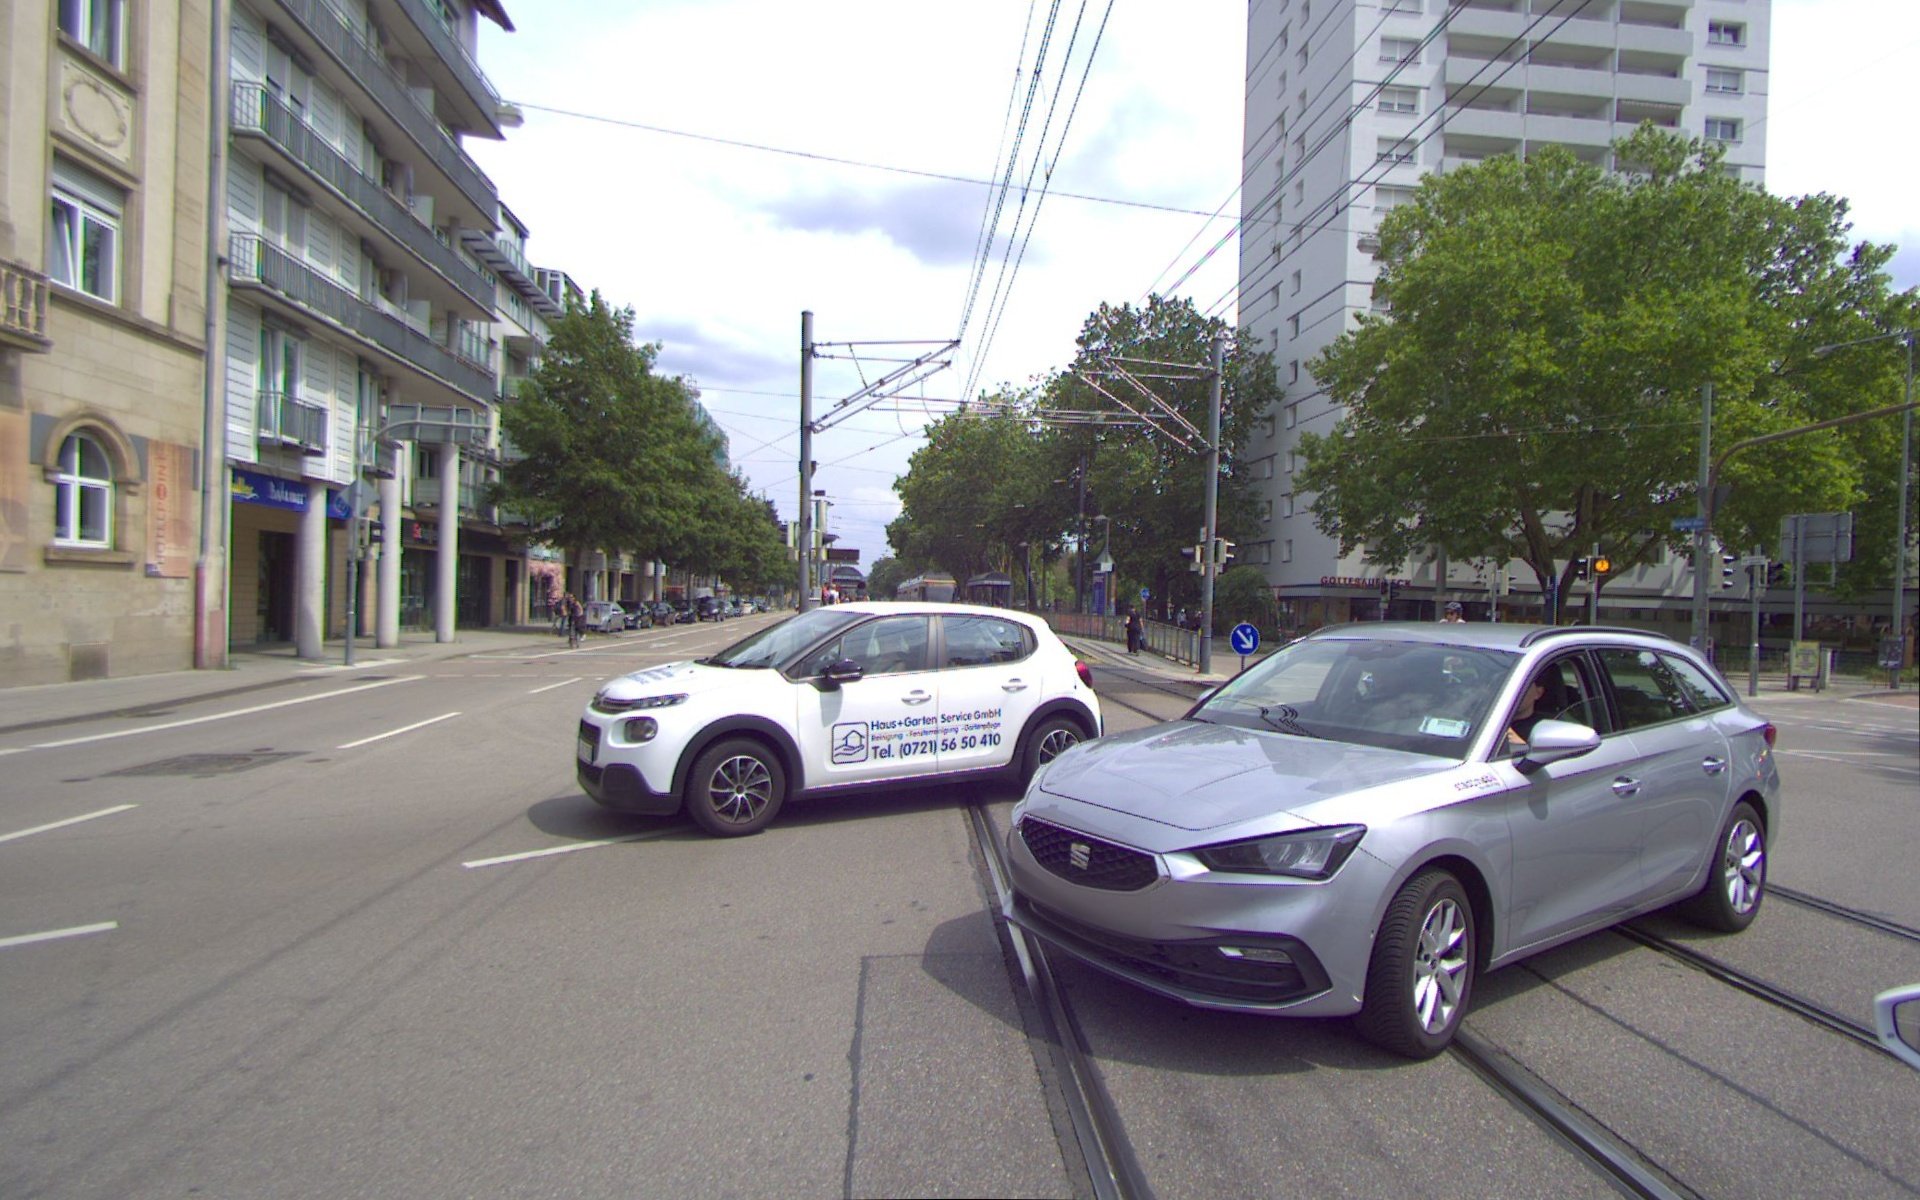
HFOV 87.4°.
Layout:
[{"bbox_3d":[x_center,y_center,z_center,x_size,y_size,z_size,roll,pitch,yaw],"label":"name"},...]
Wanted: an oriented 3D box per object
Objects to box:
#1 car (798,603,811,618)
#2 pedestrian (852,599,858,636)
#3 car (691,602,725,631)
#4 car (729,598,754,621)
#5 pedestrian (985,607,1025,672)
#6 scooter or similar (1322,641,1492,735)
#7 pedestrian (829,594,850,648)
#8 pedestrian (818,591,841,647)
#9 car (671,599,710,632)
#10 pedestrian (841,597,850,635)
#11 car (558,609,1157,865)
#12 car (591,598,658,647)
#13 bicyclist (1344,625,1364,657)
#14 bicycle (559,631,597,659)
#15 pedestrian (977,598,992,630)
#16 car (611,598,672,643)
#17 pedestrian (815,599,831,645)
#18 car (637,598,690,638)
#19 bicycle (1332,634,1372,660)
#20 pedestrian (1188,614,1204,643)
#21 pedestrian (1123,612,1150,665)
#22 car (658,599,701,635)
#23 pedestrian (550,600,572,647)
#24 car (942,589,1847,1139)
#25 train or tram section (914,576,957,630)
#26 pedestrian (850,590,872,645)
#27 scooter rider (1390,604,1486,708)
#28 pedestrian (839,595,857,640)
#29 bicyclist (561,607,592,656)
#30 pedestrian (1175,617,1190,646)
[{"bbox_3d":[-23.463,1.570,151.544,1.964,2.040,3.994,1,0,-9],"label":"car"},{"bbox_3d":[-5.796,0.943,55.195,0.282,2.040,0.354,1,0,-7],"label":"pedestrian"},{"bbox_3d":[-18.203,1.179,72.791,1.964,2.040,3.994,1,0,-9],"label":"car"},{"bbox_3d":[-20.598,0.880,94.715,1.964,2.040,3.994,1,0,-9],"label":"car"},{"bbox_3d":[1.104,0.961,24.803,0.852,1.573,0.838,1,0,-7],"label":"pedestrian"},{"bbox_3d":[6.195,1.167,13.843,2.657,1.153,0.735,1,0,-31],"label":"scooter or similar"},{"bbox_3d":[-4.638,0.800,38.724,0.746,2.040,0.757,1,0,-6],"label":"pedestrian"},{"bbox_3d":[-4.838,0.712,37.270,0.746,2.040,0.757,1,0,-6],"label":"pedestrian"},{"bbox_3d":[-17.511,0.958,65.441,1.964,2.040,3.994,1,0,-9],"label":"car"},{"bbox_3d":[-6.297,0.889,55.212,0.492,2.040,0.369,1,0,-7],"label":"pedestrian"},{"bbox_3d":[-0.684,0.837,7.615,4.191,1.450,1.726,1,0,-31],"label":"car"},{"bbox_3d":[-14.937,0.964,44.923,1.962,2.040,3.997,1,0,-5],"label":"car"},{"bbox_3d":[16.615,1.728,42.345,0.483,1.360,0.751,1,-2,-10],"label":"bicyclist"},{"bbox_3d":[-11.954,1.400,31.492,0.640,0.827,1.789,1,0,-6],"label":"bicycle"},{"bbox_3d":[1.580,0.875,65.043,0.837,2.040,0.872,1,0,-7],"label":"pedestrian"},{"bbox_3d":[-15.506,0.962,49.094,1.962,2.040,3.997,1,0,-5],"label":"car"},{"bbox_3d":[-6.861,1.081,50.269,0.746,2.280,0.757,1,0,-6],"label":"pedestrian"},{"bbox_3d":[-16.078,0.950,54.633,1.962,2.040,3.997,1,0,-5],"label":"car"},{"bbox_3d":[16.581,1.982,42.568,0.616,1.108,1.967,1,-2,-11],"label":"bicycle"},{"bbox_3d":[13.701,1.655,58.353,0.684,1.657,0.683,1,0,-9],"label":"pedestrian"},{"bbox_3d":[5.300,1.153,30.207,0.657,1.573,0.598,1,0,-4],"label":"pedestrian"},{"bbox_3d":[-16.678,0.993,59.831,1.964,2.040,3.994,1,0,-9],"label":"car"},{"bbox_3d":[-14.966,0.876,37.718,0.514,1.745,0.560,1,0,37],"label":"pedestrian"},{"bbox_3d":[2.399,0.797,4.904,4.797,1.544,1.752,2,-1,-34],"label":"car"},{"bbox_3d":[-1.733,0.323,67.484,2.322,3.358,7.512,1,-2,-5],"label":"train or tram section"},{"bbox_3d":[-3.702,0.650,37.603,0.746,2.040,0.757,1,0,-6],"label":"pedestrian"},{"bbox_3d":[6.741,0.771,14.164,1.074,1.394,0.735,1,0,-31],"label":"scooter rider"},{"bbox_3d":[-5.151,0.806,46.148,0.746,2.040,0.757,1,0,-6],"label":"pedestrian"},{"bbox_3d":[-11.915,0.968,31.223,0.629,1.463,0.999,1,0,-6],"label":"bicyclist"},{"bbox_3d":[13.079,1.854,59.029,0.684,1.645,0.505,1,0,-9],"label":"pedestrian"}]
